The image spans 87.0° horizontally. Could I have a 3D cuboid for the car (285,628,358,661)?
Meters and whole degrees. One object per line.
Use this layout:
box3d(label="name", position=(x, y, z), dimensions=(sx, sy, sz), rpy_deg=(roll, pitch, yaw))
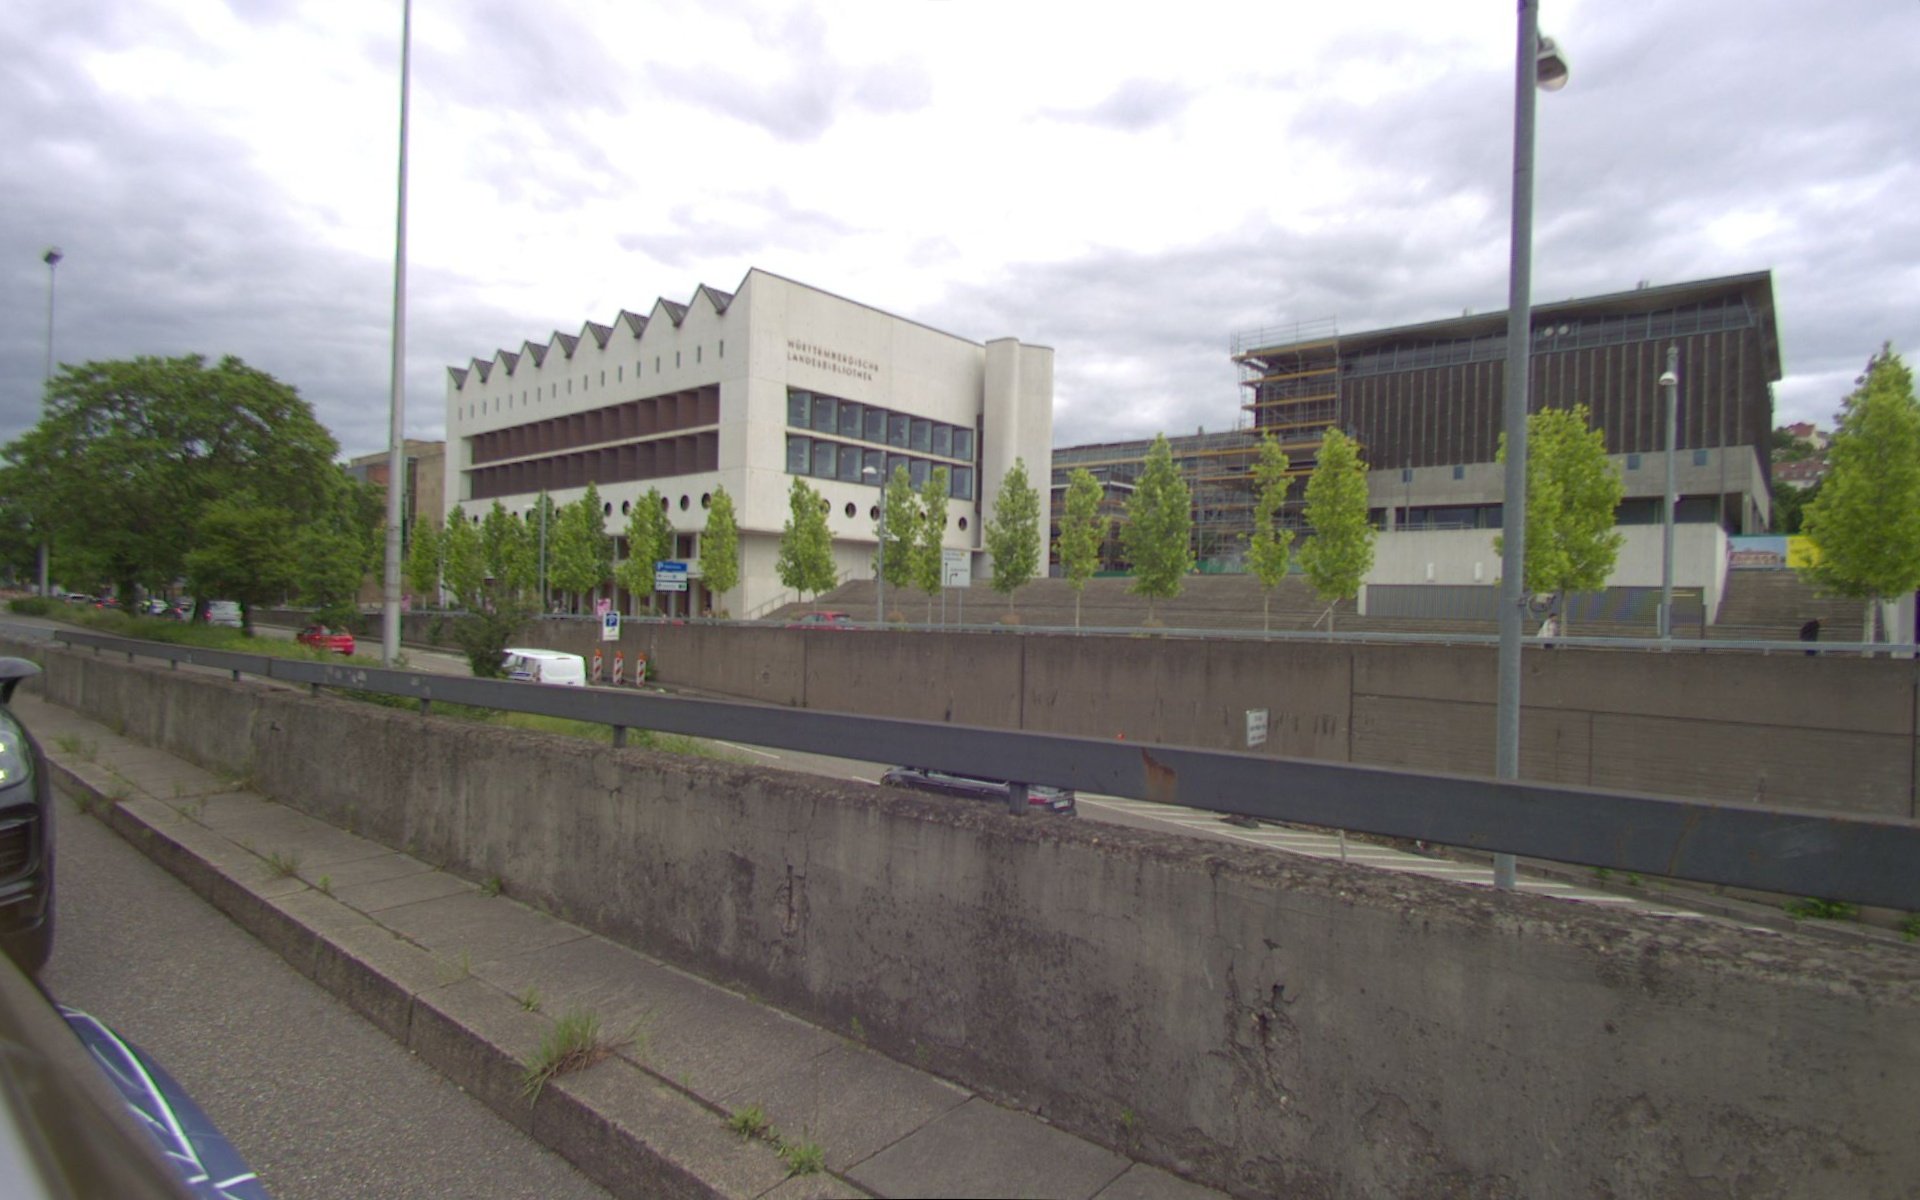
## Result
box3d(label="car", position=(-30.838, 2.110, 48.834), dimensions=(3.999, 1.497, 1.972), rpy_deg=(-1, -2, 42))

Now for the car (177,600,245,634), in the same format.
box3d(label="car", position=(-45.136, 1.015, 60.964), dimensions=(5.246, 1.651, 1.973), rpy_deg=(2, -5, 40))

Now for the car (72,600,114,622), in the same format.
box3d(label="car", position=(-71.877, 0.911, 83.882), dimensions=(4.515, 1.687, 1.973), rpy_deg=(0, -4, 41))

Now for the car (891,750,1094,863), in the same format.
box3d(label="car", position=(0.614, 4.206, 21.143), dimensions=(3.999, 1.560, 1.855), rpy_deg=(0, -1, 42))

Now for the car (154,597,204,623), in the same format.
box3d(label="car", position=(-58.709, 0.728, 76.070), dimensions=(4.385, 1.624, 1.852), rpy_deg=(4, 0, 38))

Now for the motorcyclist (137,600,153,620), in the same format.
box3d(label="motorcyclist", position=(-58.415, 0.705, 72.535), dimensions=(0.718, 1.362, 0.662), rpy_deg=(3, -3, 41))

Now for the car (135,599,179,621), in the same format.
box3d(label="car", position=(-64.152, 0.788, 80.831), dimensions=(4.141, 1.500, 1.758), rpy_deg=(3, 0, 38))

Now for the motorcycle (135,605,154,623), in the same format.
box3d(label="motorcycle", position=(-58.470, 1.016, 72.557), dimensions=(2.050, 1.106, 0.678), rpy_deg=(3, -2, 41))

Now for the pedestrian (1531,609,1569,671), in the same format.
box3d(label="pedestrian", position=(19.647, 1.337, 33.681), dimensions=(0.728, 2.029, 0.795), rpy_deg=(1, -3, -33))

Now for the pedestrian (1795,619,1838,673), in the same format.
box3d(label="pedestrian", position=(26.915, 1.431, 31.807), dimensions=(0.728, 1.655, 0.795), rpy_deg=(1, -3, -30))

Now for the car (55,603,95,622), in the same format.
box3d(label="car", position=(-75.725, 1.063, 86.538), dimensions=(3.998, 1.409, 1.973), rpy_deg=(0, -4, 41))

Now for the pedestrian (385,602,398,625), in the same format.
box3d(label="pedestrian", position=(-50.073, 1.190, 89.106), dimensions=(1.016, 2.029, 0.712), rpy_deg=(1, 1, 42))

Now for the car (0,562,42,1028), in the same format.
box3d(label="car", position=(-5.580, 0.662, 4.503), dimensions=(4.733, 1.602, 1.879), rpy_deg=(0, 0, 44))

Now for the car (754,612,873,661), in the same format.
box3d(label="car", position=(-6.014, 1.461, 41.390), dimensions=(4.729, 1.869, 2.154), rpy_deg=(-1, -1, 38))

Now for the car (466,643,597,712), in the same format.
box3d(label="car", position=(-14.580, 2.549, 34.313), dimensions=(5.116, 2.029, 2.194), rpy_deg=(-1, -2, 43))

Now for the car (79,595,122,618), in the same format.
box3d(label="car", position=(-64.846, 0.466, 76.344), dimensions=(4.144, 1.500, 1.757), rpy_deg=(3, 0, 40))
